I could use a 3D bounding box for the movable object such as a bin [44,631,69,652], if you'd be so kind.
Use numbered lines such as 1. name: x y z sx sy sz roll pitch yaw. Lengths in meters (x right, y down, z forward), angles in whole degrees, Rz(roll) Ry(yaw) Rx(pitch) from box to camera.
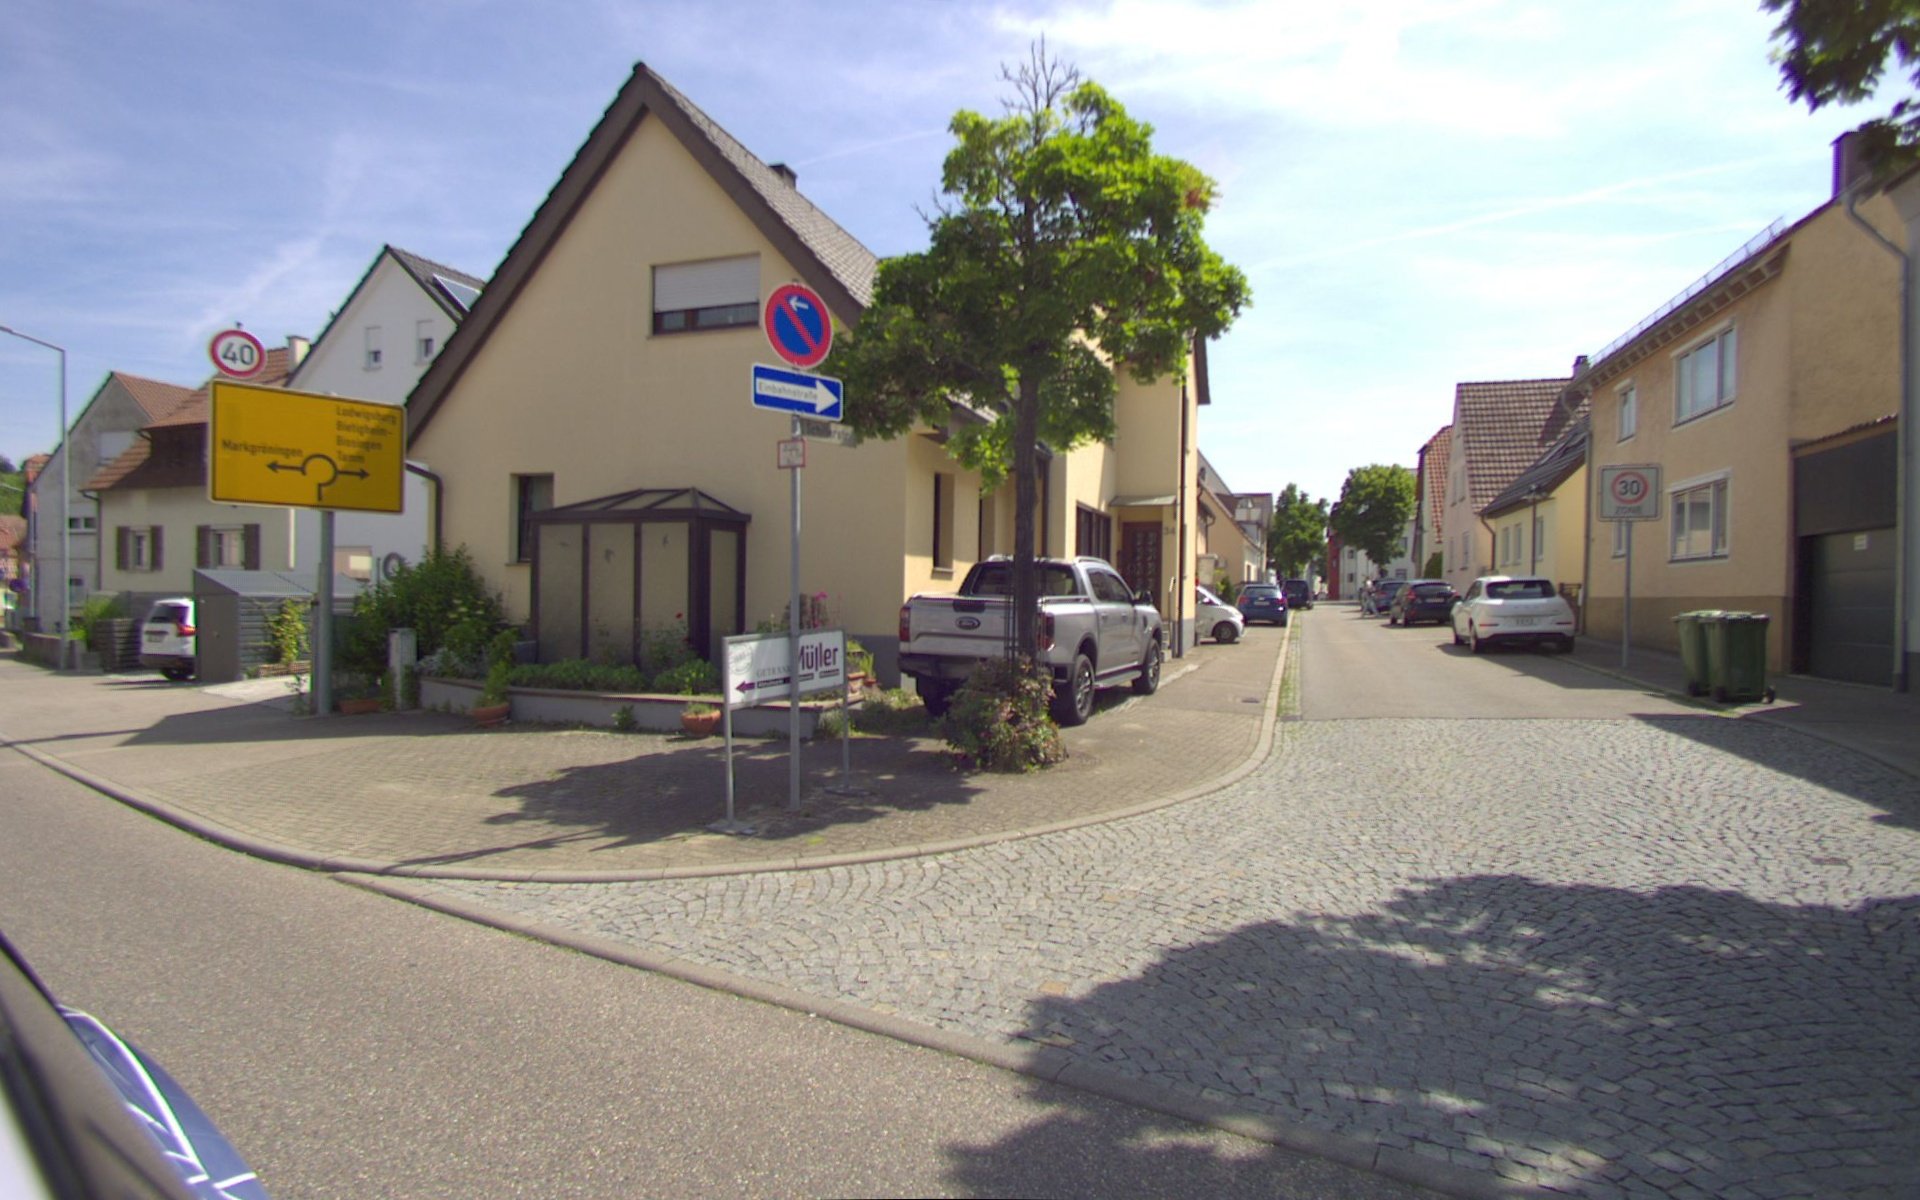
1. movable object such as a bin: -36.704 1.676 41.121 0.641 0.811 0.484 -1 0 16

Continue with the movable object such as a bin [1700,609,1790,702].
1. movable object such as a bin: 9.380 0.651 12.115 0.622 1.080 0.646 -1 0 14

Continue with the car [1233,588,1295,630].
1. car: 10.553 0.297 35.329 1.771 1.383 3.984 -1 0 13

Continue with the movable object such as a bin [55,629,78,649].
1. movable object such as a bin: -36.057 1.568 40.839 0.522 0.786 0.484 -1 0 14

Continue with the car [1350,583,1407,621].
1. car: 17.636 0.080 42.778 1.774 1.526 3.978 -1 0 17

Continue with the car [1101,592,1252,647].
1. car: 5.644 0.509 26.325 3.683 1.359 1.607 -1 0 19

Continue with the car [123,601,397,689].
1. car: -14.627 0.853 21.432 1.990 1.635 4.375 0 0 27

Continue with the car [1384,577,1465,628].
1. car: 14.714 0.084 32.244 1.654 1.487 3.821 -1 0 14

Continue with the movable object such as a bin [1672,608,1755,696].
1. movable object such as a bin: 9.546 0.648 12.840 0.622 1.080 0.646 -1 0 14

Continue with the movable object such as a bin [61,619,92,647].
1. movable object such as a bin: -35.448 1.306 40.613 0.639 1.094 0.682 -1 0 14

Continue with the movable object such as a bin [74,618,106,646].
1. movable object such as a bin: -34.770 1.281 40.447 0.691 1.094 0.682 -1 0 14

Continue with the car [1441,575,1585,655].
1. car: 11.586 0.302 21.500 1.773 1.526 3.980 -1 0 15

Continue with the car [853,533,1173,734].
1. car: 0.934 0.340 12.382 2.163 1.911 5.079 -1 -1 25

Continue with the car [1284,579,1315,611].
1. car: 20.645 -0.289 61.597 1.665 1.887 3.976 -1 0 18

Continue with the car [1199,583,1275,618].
1. car: 15.780 0.040 57.664 3.972 1.887 1.667 -1 0 22
